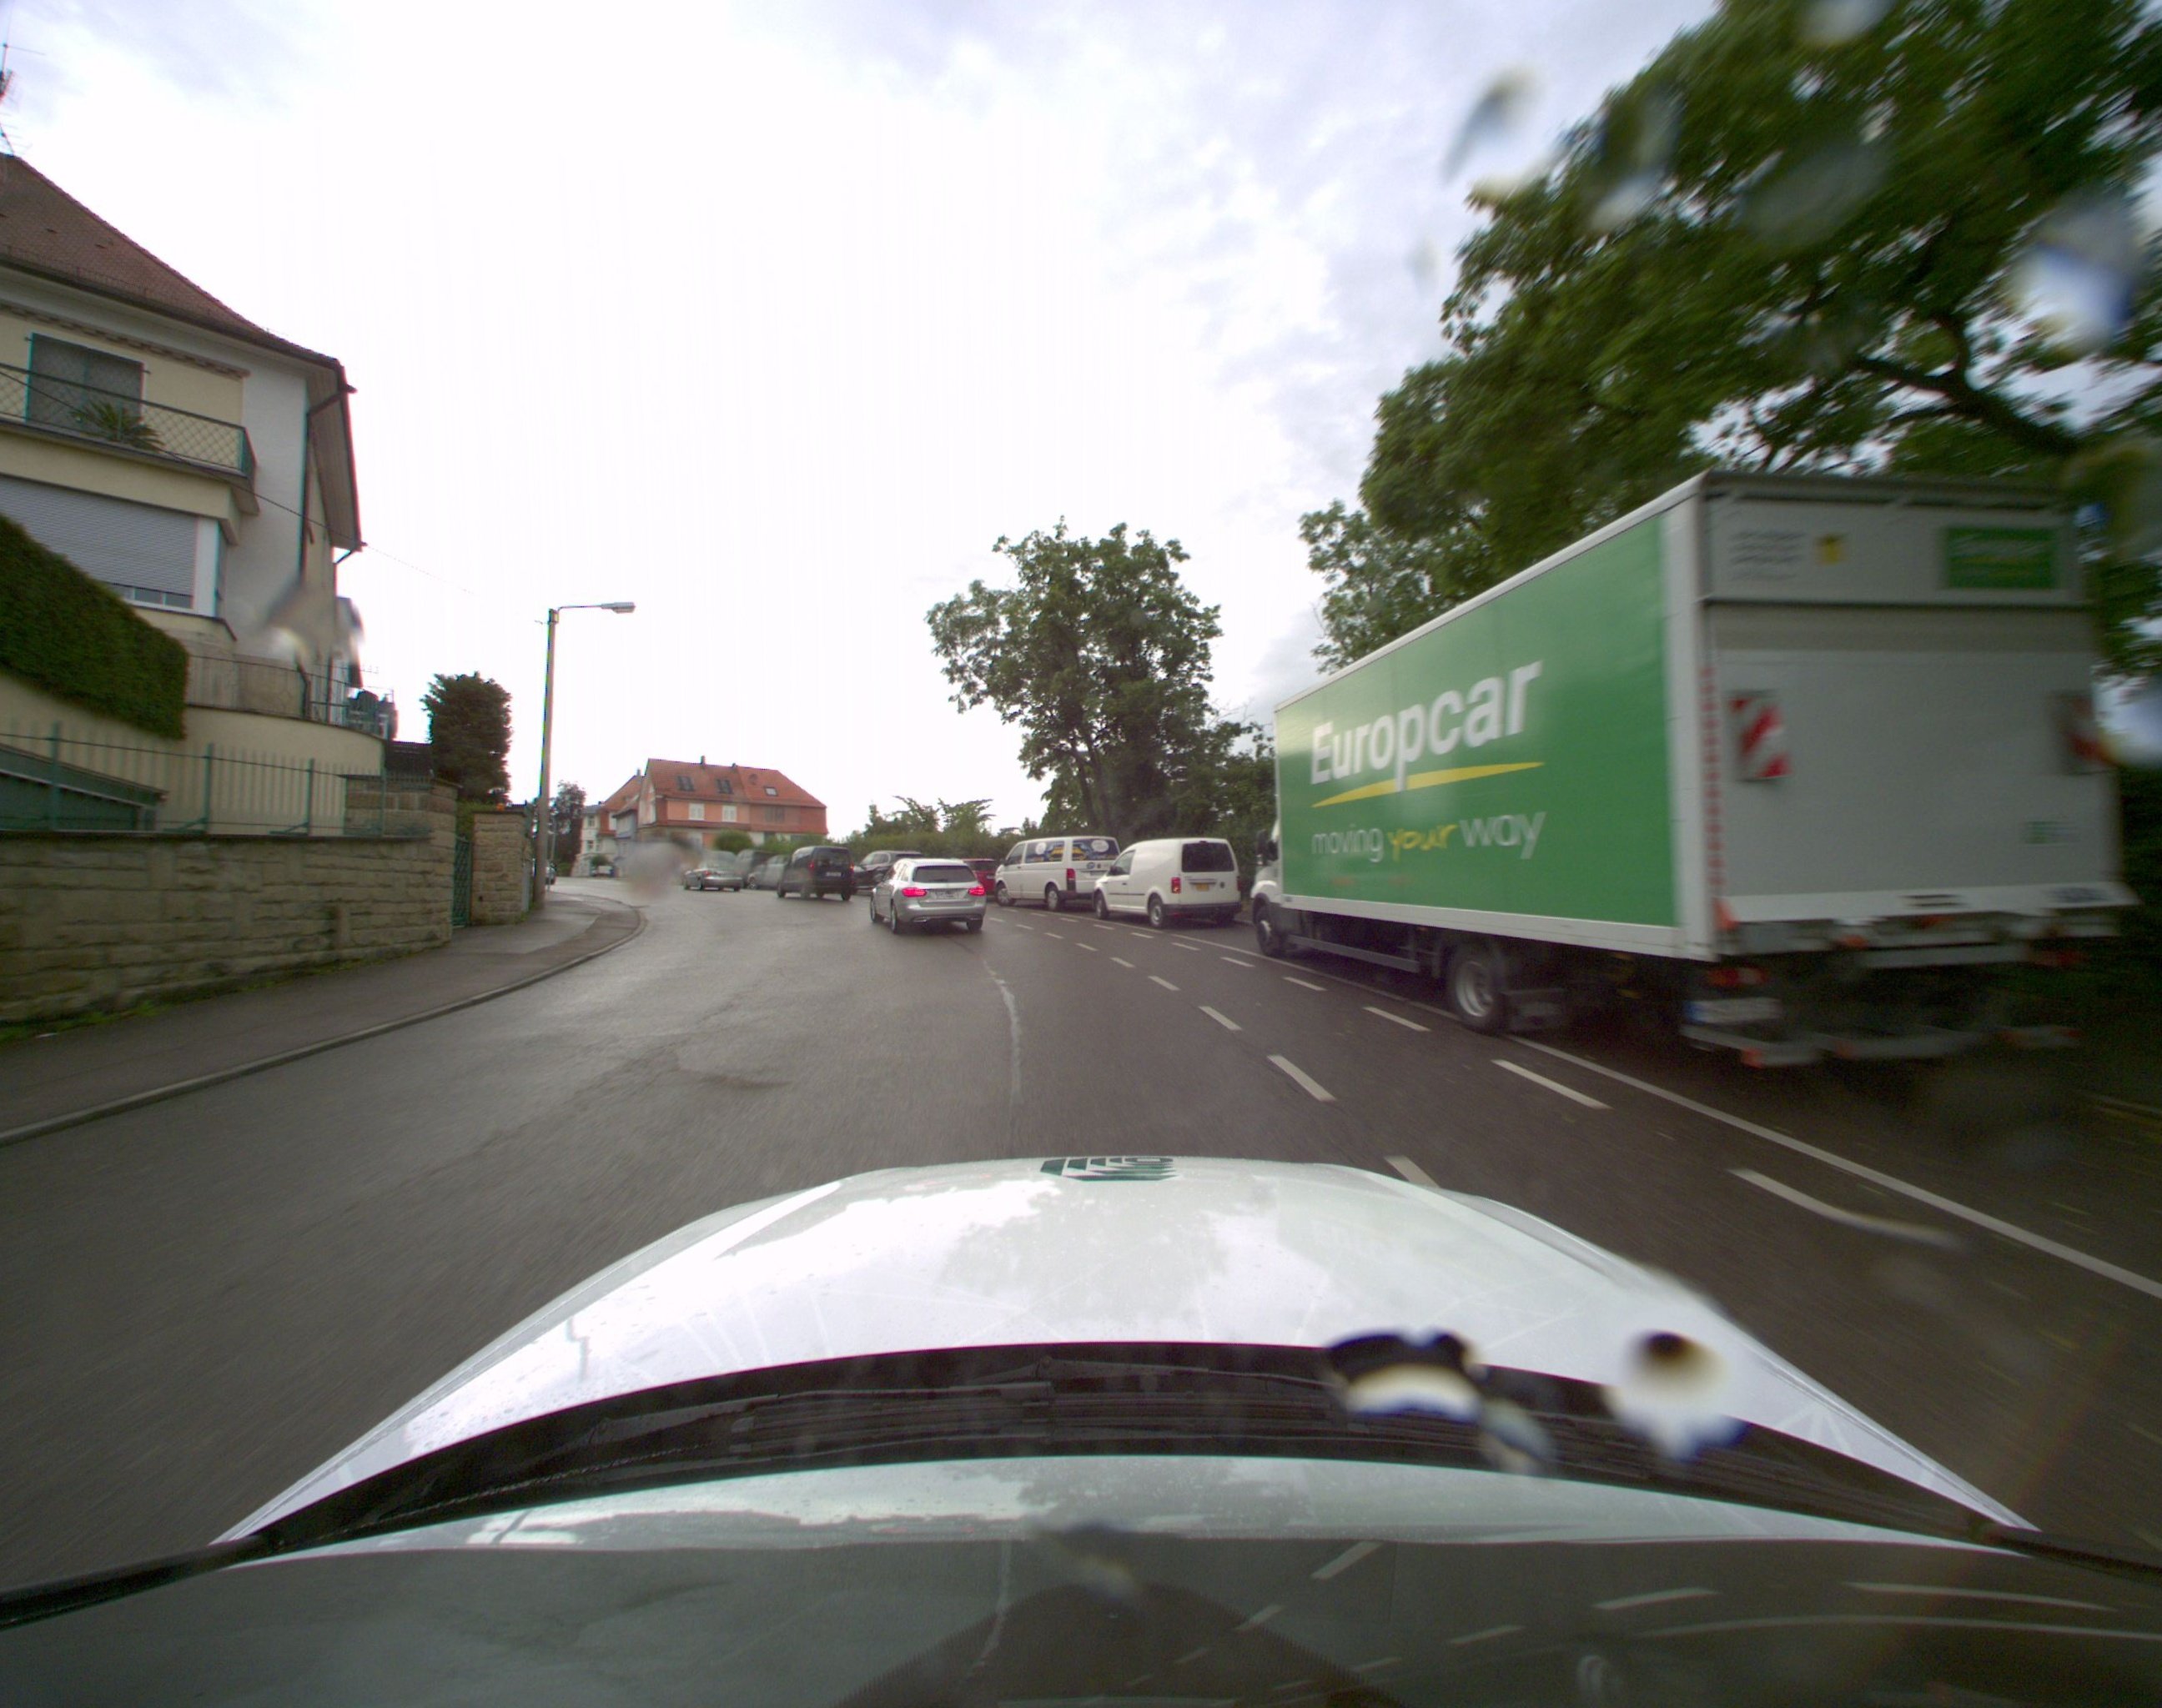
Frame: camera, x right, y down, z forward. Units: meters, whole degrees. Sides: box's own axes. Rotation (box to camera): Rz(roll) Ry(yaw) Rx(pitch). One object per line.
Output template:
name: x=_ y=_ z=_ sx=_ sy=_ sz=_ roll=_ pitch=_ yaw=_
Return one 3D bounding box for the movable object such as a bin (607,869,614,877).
movable object such as a bin: x=-52.329 y=2.117 z=90.539 sx=0.553 sy=0.936 sz=0.626 roll=-1 pitch=0 yaw=-39

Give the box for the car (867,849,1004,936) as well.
car: x=-3.223 y=0.727 z=17.303 sx=1.991 sy=1.554 sz=4.265 roll=-1 pitch=0 yaw=-22

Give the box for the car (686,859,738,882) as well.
car: x=-23.273 y=1.027 z=51.298 sx=1.727 sy=1.405 sz=4.553 roll=3 pitch=-3 yaw=-40

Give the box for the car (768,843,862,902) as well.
car: x=-9.456 y=0.646 z=28.765 sx=1.839 sy=1.882 sz=4.048 roll=-2 pitch=0 yaw=-38

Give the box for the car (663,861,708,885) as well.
car: x=-26.902 y=1.289 z=55.344 sx=1.768 sy=1.530 sz=4.156 roll=3 pitch=-3 yaw=-40

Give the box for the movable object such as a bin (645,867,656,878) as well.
movable object such as a bin: x=-39.127 y=1.683 z=74.007 sx=0.662 sy=0.969 sz=0.574 roll=1 pitch=-3 yaw=18

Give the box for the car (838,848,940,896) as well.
car: x=-7.782 y=0.702 z=32.607 sx=2.043 sy=1.783 sz=4.842 roll=2 pitch=-1 yaw=-39

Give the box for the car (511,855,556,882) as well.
car: x=-34.000 y=0.873 z=50.535 sx=1.914 sy=1.567 sz=4.188 roll=0 pitch=-1 yaw=-40

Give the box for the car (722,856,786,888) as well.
car: x=-18.397 y=0.995 z=45.667 sx=1.903 sy=1.663 sz=4.494 roll=4 pitch=-3 yaw=-41

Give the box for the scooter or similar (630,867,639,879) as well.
scooter or similar: x=-44.765 y=1.881 z=81.678 sx=0.697 sy=1.224 sz=1.286 roll=2 pitch=-2 yaw=-31

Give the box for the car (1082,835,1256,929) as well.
car: x=1.762 y=0.530 z=17.894 sx=1.868 sy=1.770 sz=4.344 roll=-2 pitch=0 yaw=-24

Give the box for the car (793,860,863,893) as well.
car: x=-11.487 y=1.018 z=36.828 sx=1.702 sy=1.422 sz=3.937 roll=2 pitch=-2 yaw=-39

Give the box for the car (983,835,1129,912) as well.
car: x=-0.832 y=0.500 z=23.183 sx=1.874 sy=1.948 sz=4.756 roll=0 pitch=0 yaw=-35

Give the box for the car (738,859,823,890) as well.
car: x=-15.427 y=1.040 z=41.689 sx=4.582 sy=1.440 sz=1.816 roll=0 pitch=-2 yaw=36

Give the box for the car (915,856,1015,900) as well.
car: x=-4.064 y=0.800 z=28.276 sx=1.685 sy=1.414 sz=3.698 roll=2 pitch=-1 yaw=-41

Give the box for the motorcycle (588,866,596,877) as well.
motorcycle: x=-58.729 y=2.118 z=97.727 sx=0.586 sy=1.261 sz=2.305 roll=0 pitch=-1 yaw=-36

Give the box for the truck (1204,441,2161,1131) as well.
truck: x=3.981 y=-0.388 z=8.718 sx=2.772 sy=3.470 sz=8.908 roll=-2 pitch=0 yaw=-8

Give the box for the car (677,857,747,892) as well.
car: x=-17.148 y=0.964 z=37.763 sx=1.870 sy=1.458 sz=4.046 roll=-2 pitch=-1 yaw=-41
